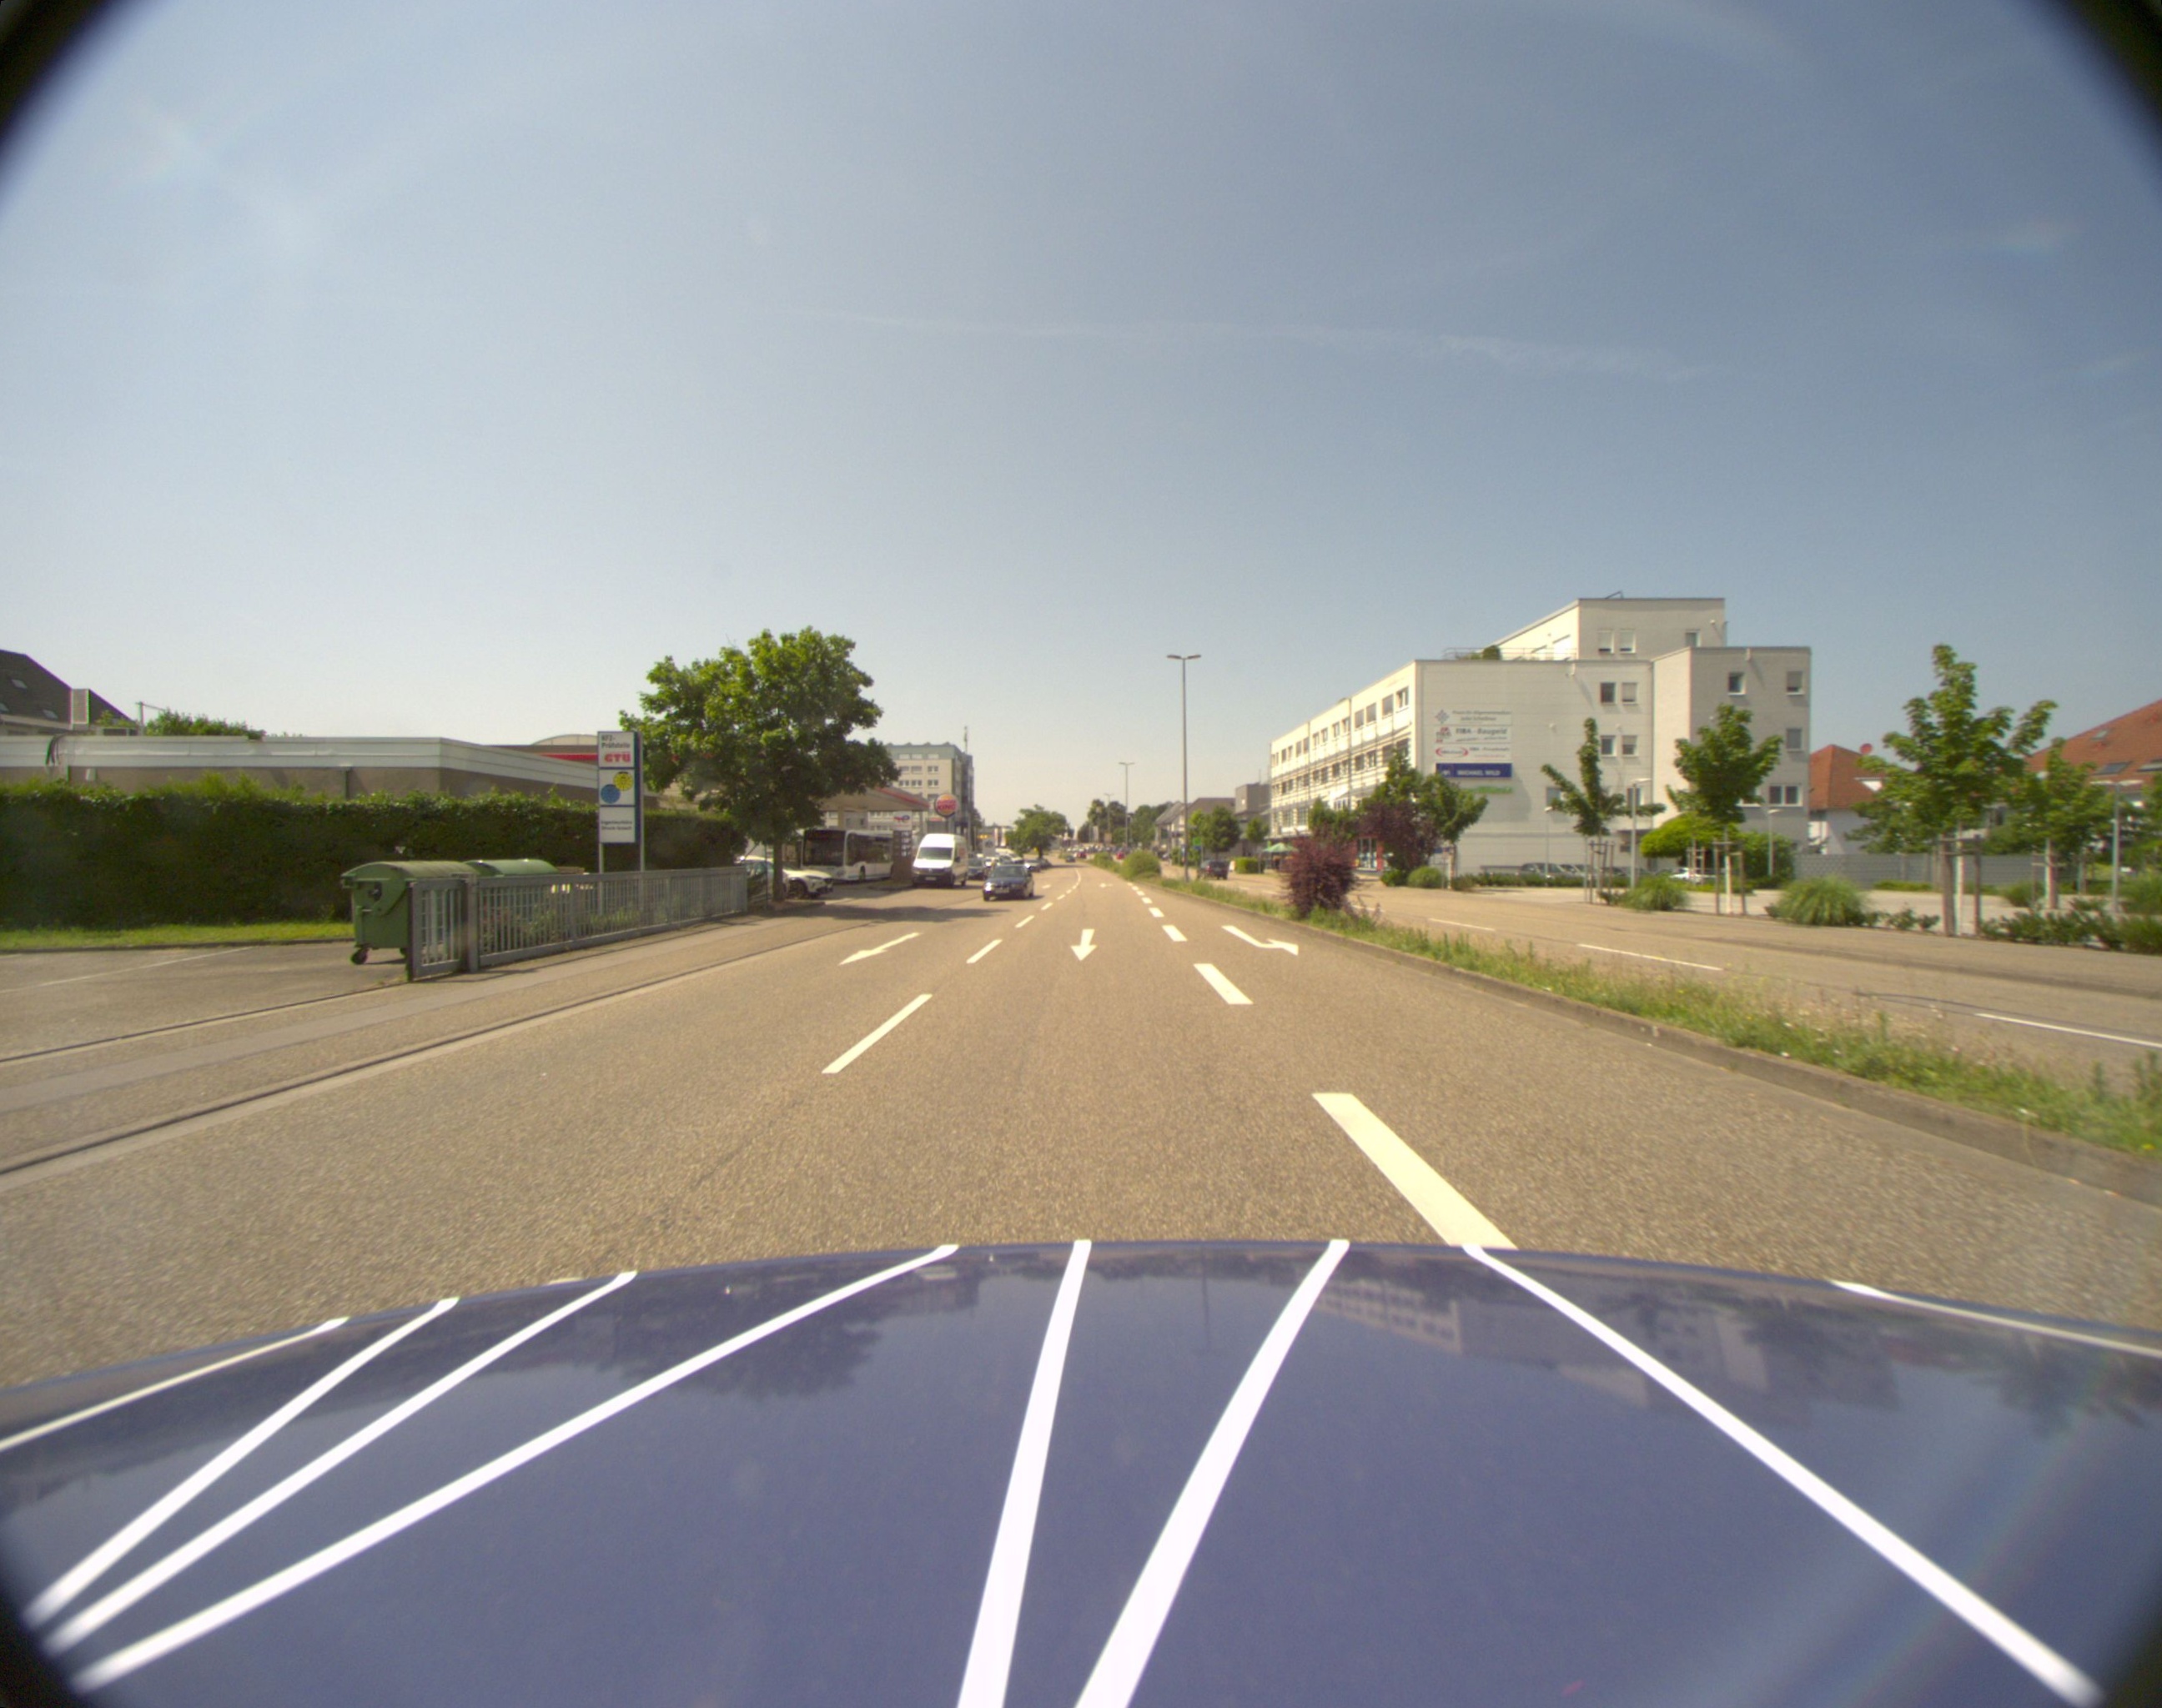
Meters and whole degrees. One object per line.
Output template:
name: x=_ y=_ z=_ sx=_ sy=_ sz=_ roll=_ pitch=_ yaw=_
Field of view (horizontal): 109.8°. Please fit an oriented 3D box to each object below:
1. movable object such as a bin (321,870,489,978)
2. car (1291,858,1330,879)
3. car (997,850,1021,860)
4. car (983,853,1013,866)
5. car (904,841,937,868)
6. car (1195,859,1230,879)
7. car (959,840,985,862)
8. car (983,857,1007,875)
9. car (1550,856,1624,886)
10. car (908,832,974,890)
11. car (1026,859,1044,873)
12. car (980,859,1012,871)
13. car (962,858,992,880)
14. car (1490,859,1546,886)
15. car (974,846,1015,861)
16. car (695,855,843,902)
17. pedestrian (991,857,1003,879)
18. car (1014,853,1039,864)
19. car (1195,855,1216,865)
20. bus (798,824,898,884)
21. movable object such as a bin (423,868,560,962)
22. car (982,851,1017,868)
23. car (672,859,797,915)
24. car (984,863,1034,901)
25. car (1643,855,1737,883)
movable object such as a bin: x=-9.907 y=0.985 z=11.232 sx=1.133 sy=1.461 sz=1.489 roll=0 pitch=0 yaw=0
car: x=16.832 y=1.023 z=55.837 sx=1.696 sy=1.440 sz=3.665 roll=-1 pitch=0 yaw=-1
car: x=-11.912 y=0.165 z=126.231 sx=3.999 sy=1.755 sz=1.724 roll=0 pitch=0 yaw=-5
car: x=-10.962 y=0.714 z=100.401 sx=3.999 sy=1.775 sz=1.724 roll=0 pitch=0 yaw=-5
car: x=-15.148 y=0.036 z=71.939 sx=2.058 sy=2.421 sz=5.574 roll=0 pitch=0 yaw=-2
car: x=10.279 y=1.130 z=59.744 sx=1.833 sy=1.452 sz=4.711 roll=0 pitch=0 yaw=-1
car: x=-10.282 y=-0.301 z=71.928 sx=1.999 sy=2.002 sz=3.999 roll=0 pitch=0 yaw=-1
car: x=-8.139 y=1.096 z=72.153 sx=1.860 sy=1.572 sz=3.999 roll=2 pitch=0 yaw=-1
car: x=26.224 y=0.844 z=39.500 sx=1.557 sy=1.510 sz=3.556 roll=0 pitch=0 yaw=2
car: x=-7.269 y=0.333 z=40.299 sx=2.183 sy=2.757 sz=7.277 roll=2 pitch=0 yaw=-1
car: x=-5.147 y=1.328 z=85.347 sx=1.867 sy=1.550 sz=3.999 roll=0 pitch=0 yaw=-1
car: x=-10.740 y=1.346 z=95.996 sx=3.999 sy=1.440 sz=1.724 roll=0 pitch=0 yaw=-5
car: x=-7.352 y=1.018 z=53.945 sx=1.681 sy=1.440 sz=3.840 roll=2 pitch=0 yaw=-1
car: x=23.319 y=0.959 z=40.654 sx=1.456 sy=1.332 sz=2.833 roll=0 pitch=0 yaw=2
car: x=-14.811 y=-0.109 z=129.633 sx=6.875 sy=2.589 sz=1.727 roll=0 pitch=0 yaw=17
car: x=-11.411 y=0.882 z=27.977 sx=4.633 sy=1.518 sz=1.907 roll=2 pitch=0 yaw=2
pedestrian: x=-6.144 y=0.996 z=55.617 sx=0.704 sy=1.572 sz=0.820 roll=2 pitch=0 yaw=-2
car: x=-8.550 y=0.698 z=119.258 sx=3.999 sy=1.755 sz=1.724 roll=0 pitch=0 yaw=-5
car: x=16.896 y=0.803 z=103.223 sx=2.737 sy=1.404 sz=1.446 roll=0 pitch=0 yaw=0
bus: x=-13.282 y=-0.022 z=44.285 sx=2.755 sy=3.134 sz=9.079 roll=0 pitch=0 yaw=2
movable object such as a bin: x=-9.871 y=0.980 z=12.808 sx=1.133 sy=1.461 sz=1.489 roll=0 pitch=0 yaw=0
car: x=-9.411 y=0.606 z=88.035 sx=3.999 sy=1.907 sz=1.724 roll=0 pitch=0 yaw=-5
car: x=-10.506 y=0.946 z=23.472 sx=1.798 sy=1.458 sz=4.636 roll=2 pitch=0 yaw=-1
car: x=-2.829 y=1.083 z=30.342 sx=1.632 sy=1.331 sz=3.756 roll=-2 pitch=0 yaw=-1
car: x=31.507 y=0.763 z=39.441 sx=1.924 sy=1.376 sz=3.834 roll=0 pitch=0 yaw=2
